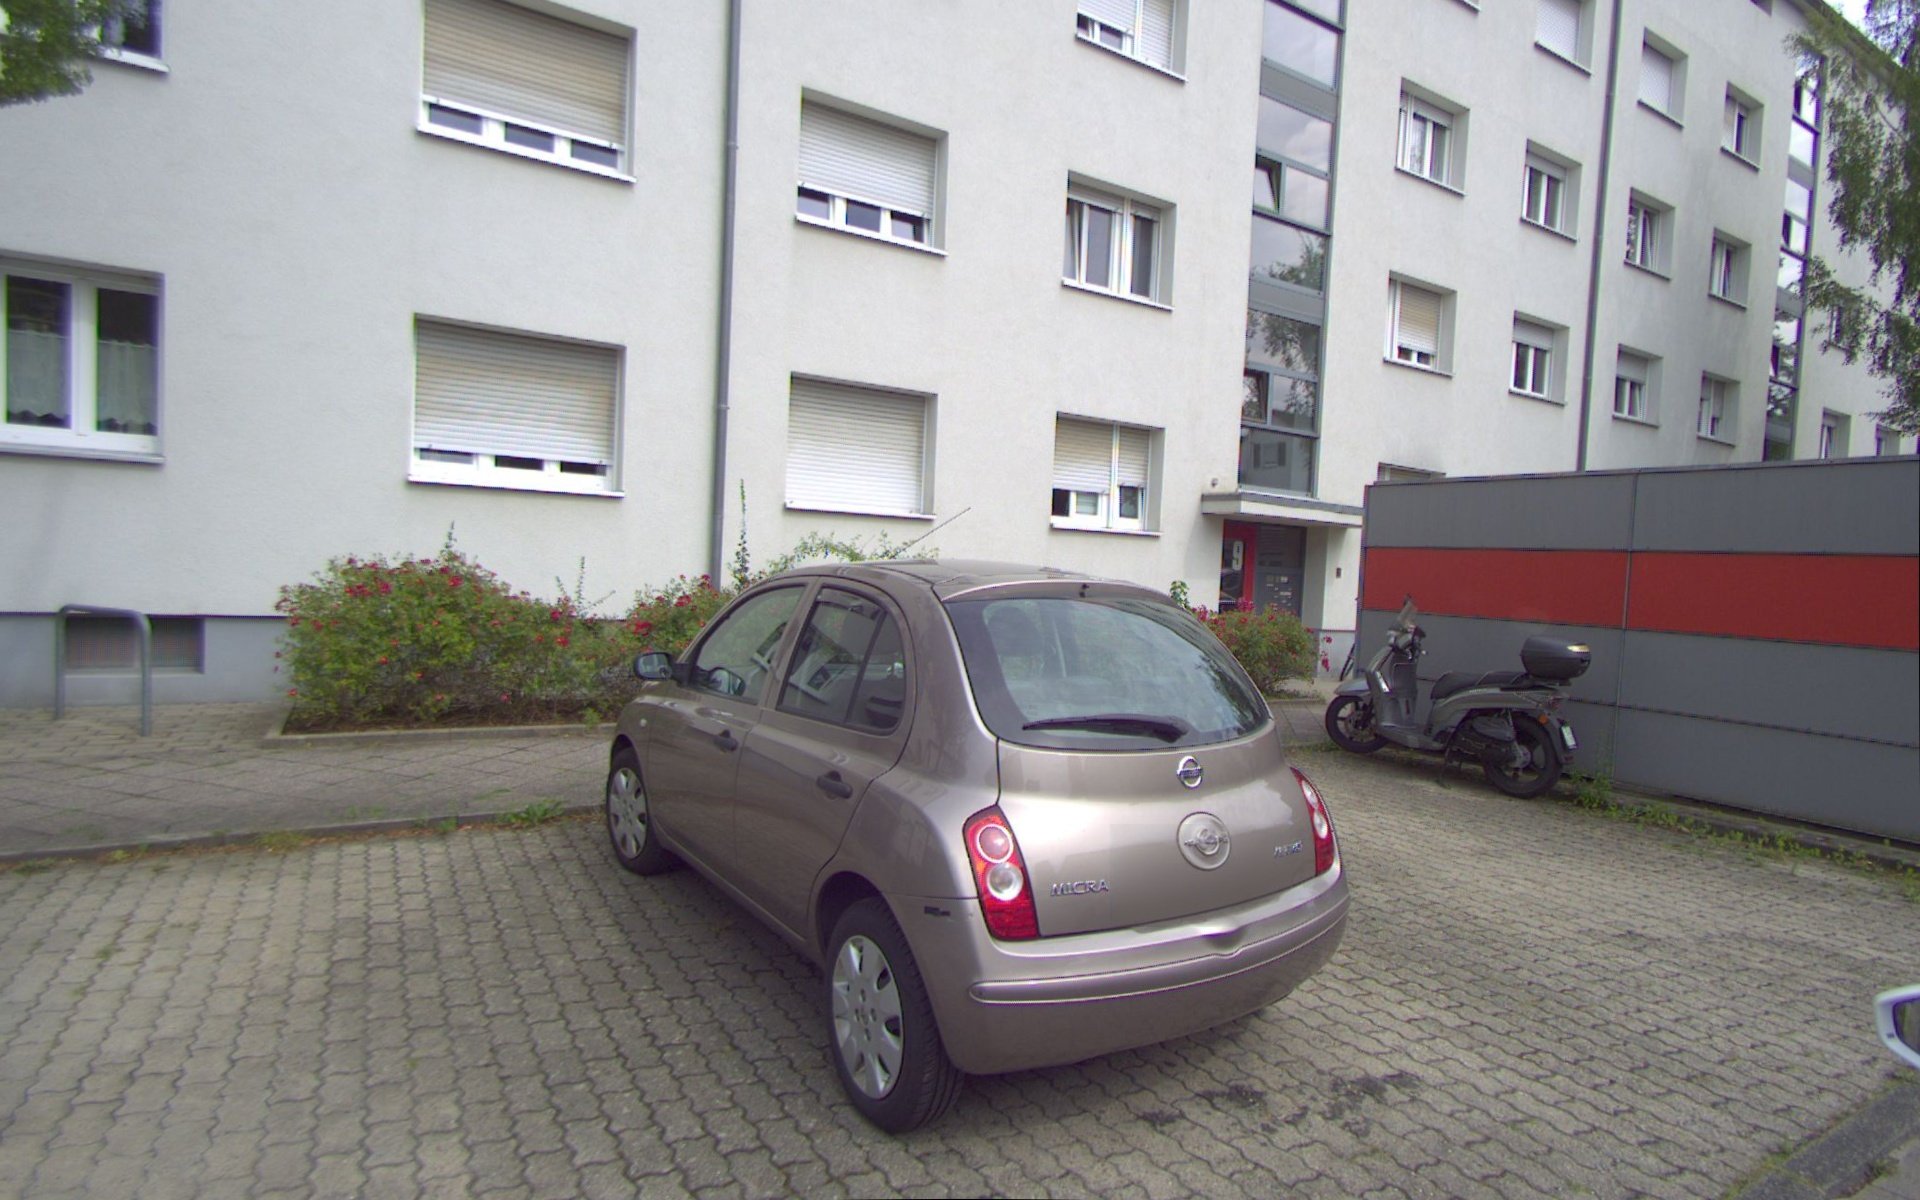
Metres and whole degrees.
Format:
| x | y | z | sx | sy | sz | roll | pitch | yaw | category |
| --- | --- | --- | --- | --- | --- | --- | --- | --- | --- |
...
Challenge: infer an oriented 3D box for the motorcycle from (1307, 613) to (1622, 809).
| x | y | z | sx | sy | sz | roll | pitch | yaw | category |
| --- | --- | --- | --- | --- | --- | --- | --- | --- | --- |
| 3.752 | 0.747 | 7.710 | 0.628 | 1.152 | 2.130 | -1 | 4 | -31 | motorcycle |

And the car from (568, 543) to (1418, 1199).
| x | y | z | sx | sy | sz | roll | pitch | yaw | category |
| --- | --- | --- | --- | --- | --- | --- | --- | --- | --- |
| -0.278 | 0.582 | 4.131 | 1.693 | 1.500 | 3.538 | 1 | 1 | -35 | car |
